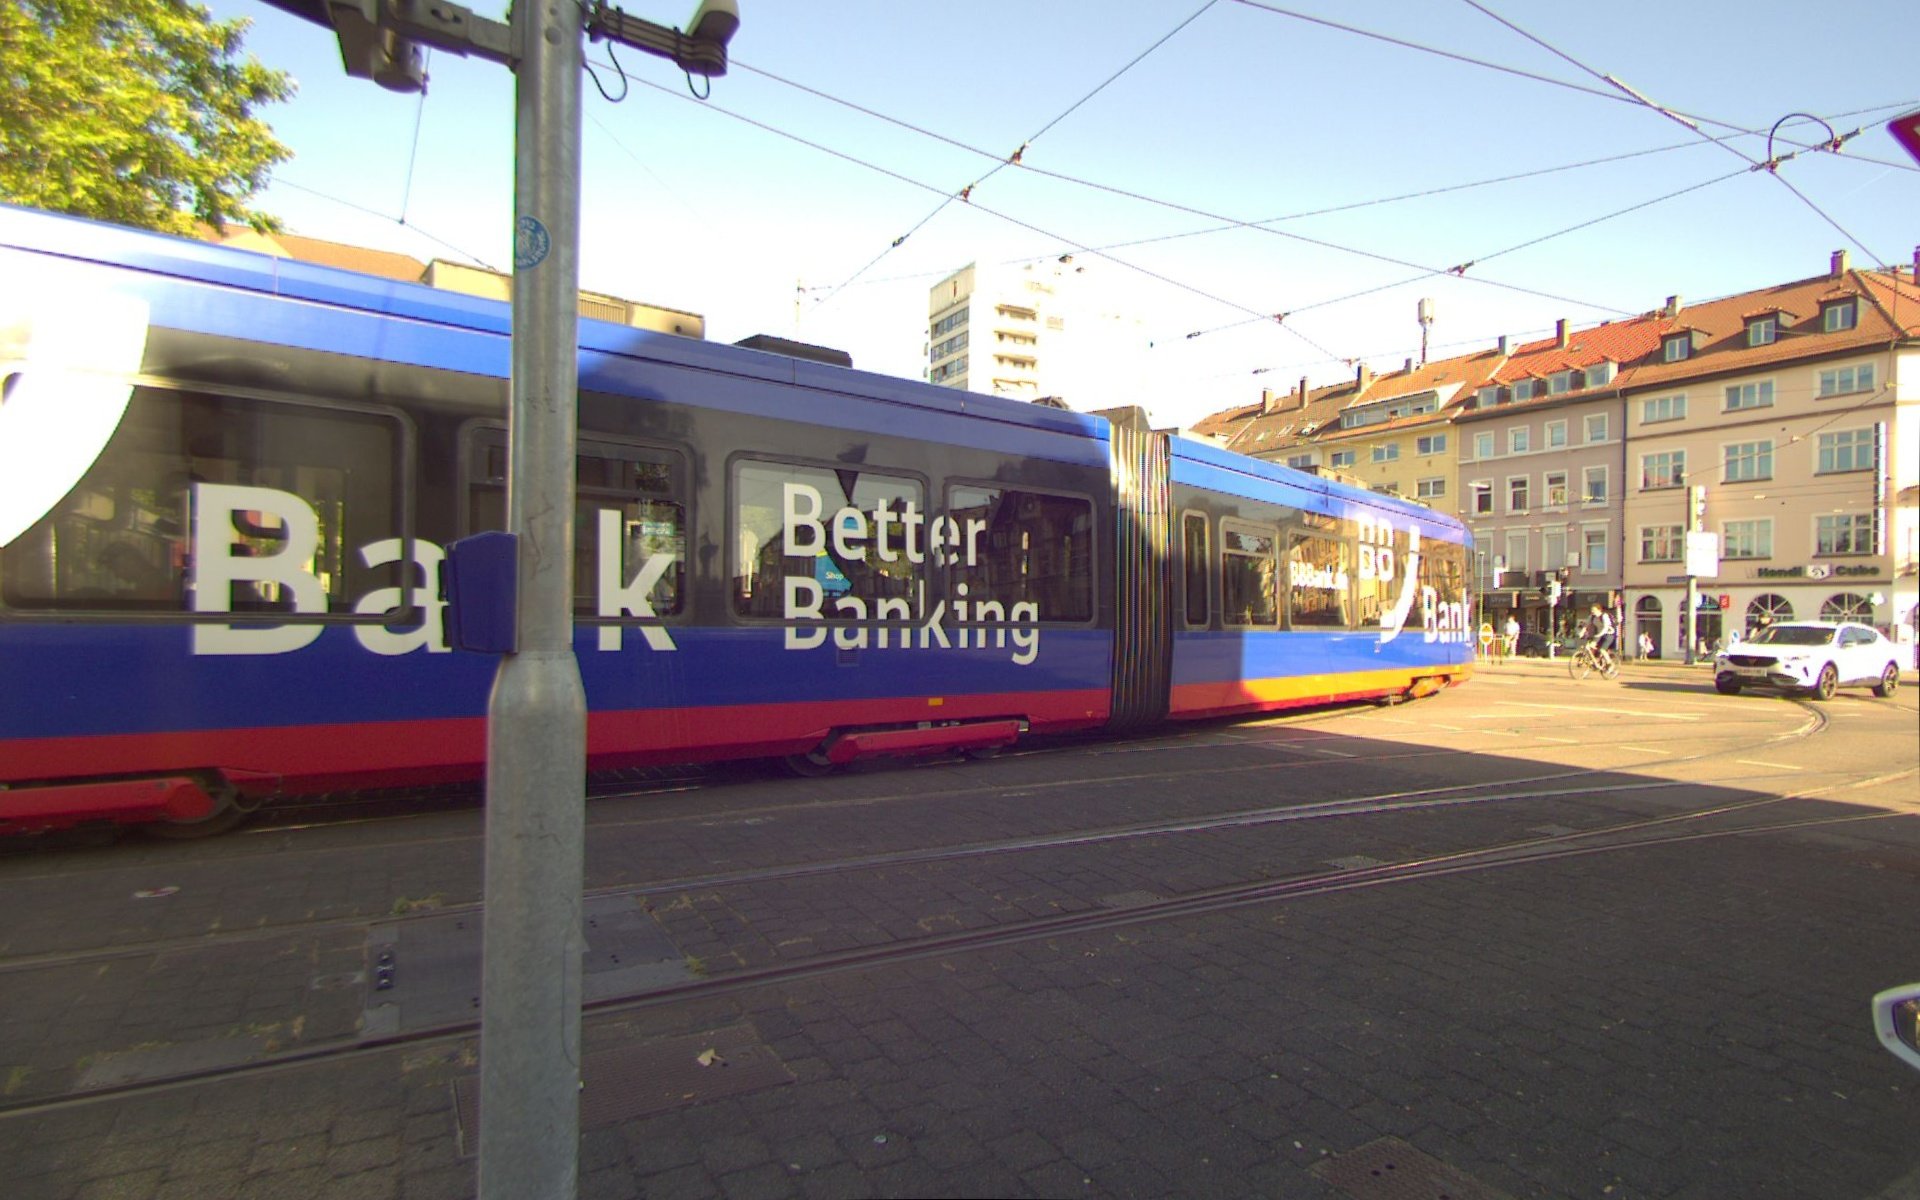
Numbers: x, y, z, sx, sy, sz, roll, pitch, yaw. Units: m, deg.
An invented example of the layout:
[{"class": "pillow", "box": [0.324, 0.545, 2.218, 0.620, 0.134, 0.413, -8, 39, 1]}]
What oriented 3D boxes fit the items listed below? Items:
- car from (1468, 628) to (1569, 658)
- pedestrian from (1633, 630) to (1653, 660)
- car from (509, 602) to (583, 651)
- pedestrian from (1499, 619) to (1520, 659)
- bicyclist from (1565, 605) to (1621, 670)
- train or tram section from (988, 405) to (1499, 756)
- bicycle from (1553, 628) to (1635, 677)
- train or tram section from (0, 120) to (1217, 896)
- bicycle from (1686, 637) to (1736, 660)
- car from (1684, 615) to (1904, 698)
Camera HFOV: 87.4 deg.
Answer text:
[{"class": "car", "box": [30.555, 2.327, 55.082, 1.725, 1.459, 4.614, 2, -1, -32]}, {"class": "pedestrian", "box": [35.354, 2.310, 52.006, 0.688, 1.544, 0.654, 1, -1, -33]}, {"class": "car", "box": [-13.635, 0.849, 32.966, 1.697, 1.506, 4.185, 1, -1, -30]}, {"class": "pedestrian", "box": [22.747, 1.602, 41.589, 0.713, 1.648, 0.671, 0, -1, 24]}, {"class": "bicyclist", "box": [15.703, 0.931, 24.936, 0.971, 1.580, 0.714, 1, -1, -17]}, {"class": "train or tram section", "box": [5.437, -0.063, 16.034, 3.020, 3.661, 12.053, 0, -1, 41]}, {"class": "bicycle", "box": [15.724, 1.310, 24.917, 2.022, 1.181, 0.485, 1, -1, -16]}, {"class": "train or tram section", "box": [-3.076, -0.356, 7.852, 12.393, 3.661, 3.031, 2, -1, -39]}, {"class": "bicycle", "box": [37.612, 2.400, 50.306, 0.578, 1.081, 1.929, 1, -1, -36]}, {"class": "car", "box": [17.074, 1.109, 20.554, 4.292, 1.517, 1.986, 1, -1, -28]}]
